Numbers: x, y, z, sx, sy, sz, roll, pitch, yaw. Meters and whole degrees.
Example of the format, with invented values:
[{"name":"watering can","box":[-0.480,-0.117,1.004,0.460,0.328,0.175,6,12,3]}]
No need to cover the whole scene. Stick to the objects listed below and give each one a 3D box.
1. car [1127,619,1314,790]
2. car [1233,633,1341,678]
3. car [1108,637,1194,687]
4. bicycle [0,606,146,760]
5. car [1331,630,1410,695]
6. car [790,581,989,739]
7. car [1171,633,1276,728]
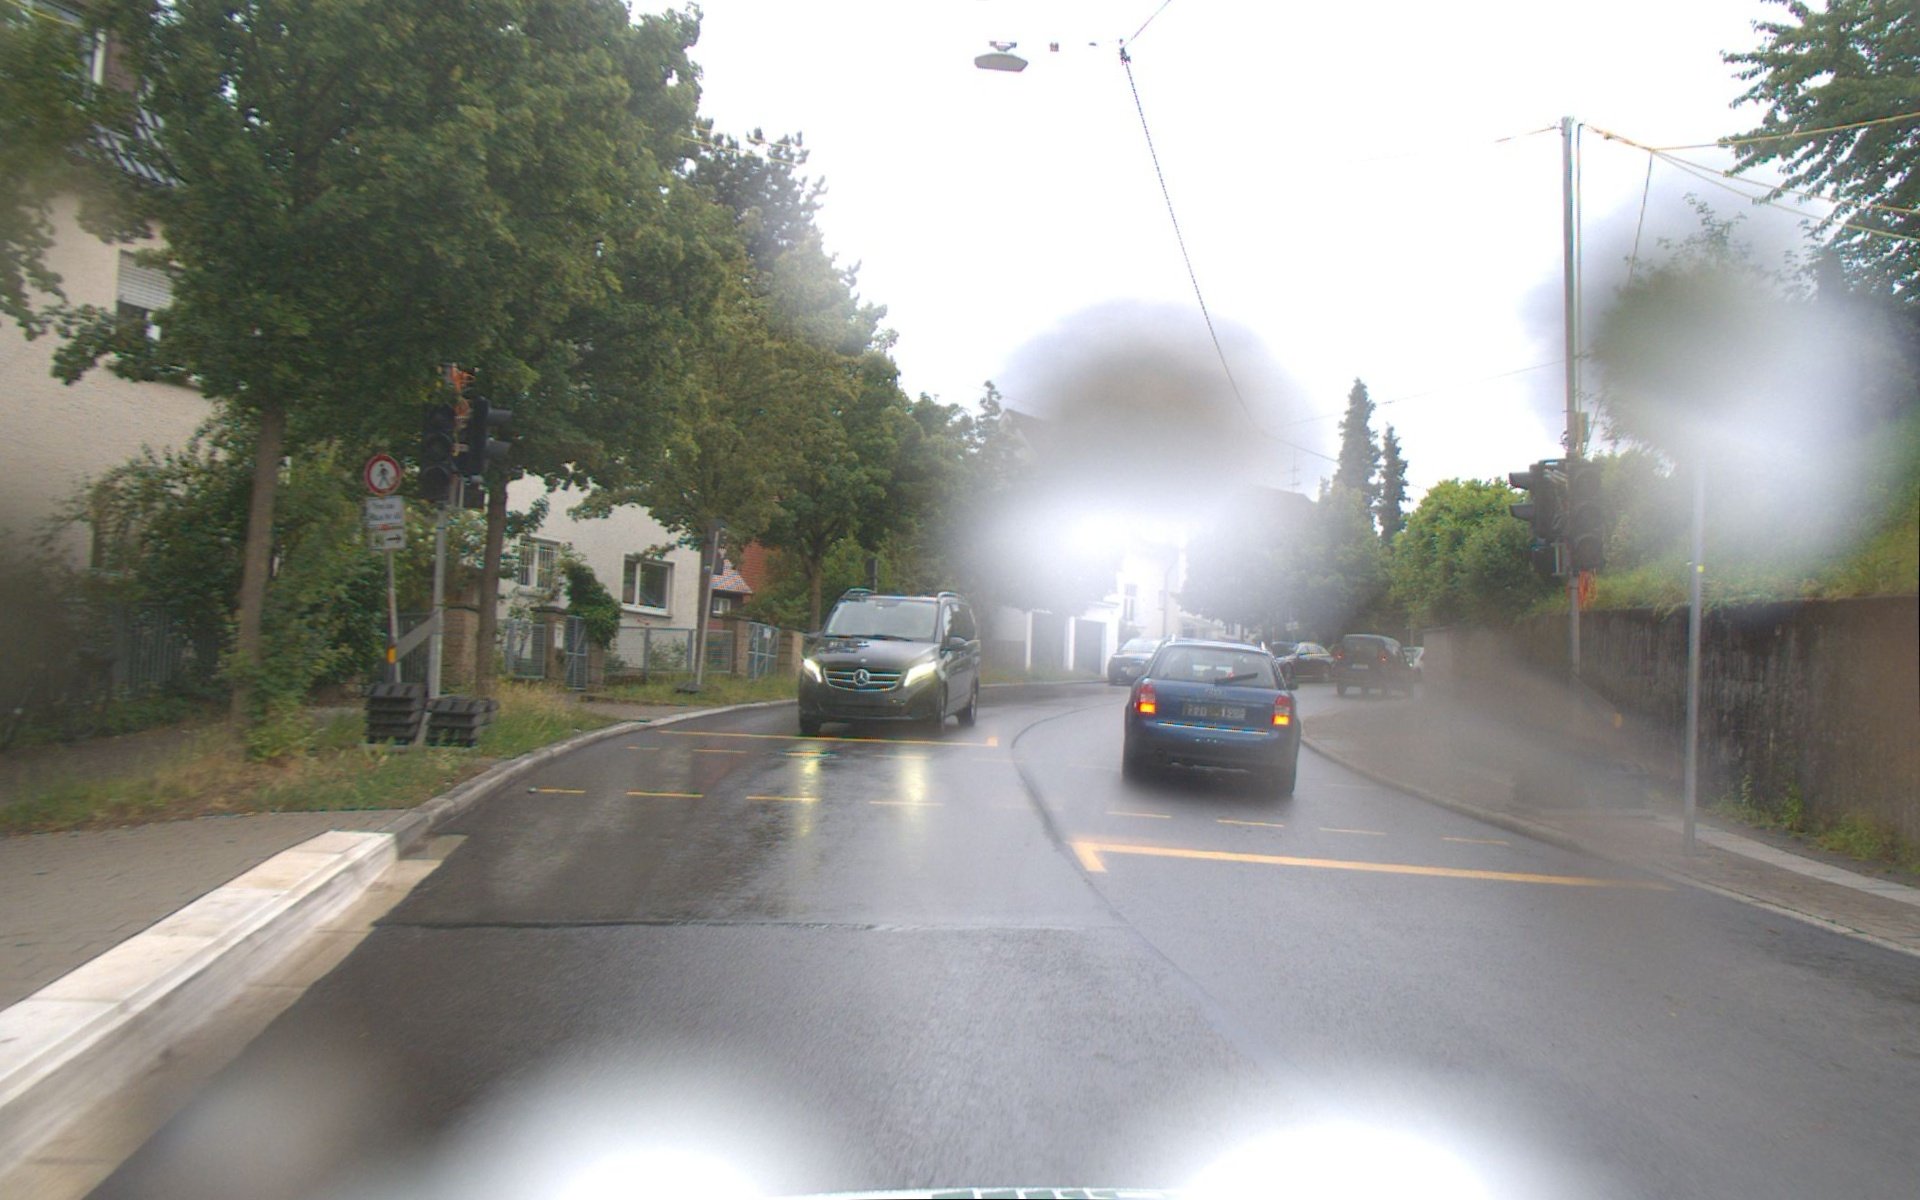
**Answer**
[{"name":"car","box":[2.611,0.987,17.311,1.697,1.492,4.003,0,0,6]},{"name":"car","box":[12.222,2.091,61.567,1.838,1.572,4.878,0,-2,40]},{"name":"car","box":[6.006,1.935,51.644,1.636,1.492,3.893,0,-2,23]},{"name":"bicycle","box":[-8.365,0.725,15.488,0.481,1.294,2.270,4,0,-5]},{"name":"car","box":[12.753,1.895,51.229,1.698,1.799,4.234,0,0,23]},{"name":"car","box":[-0.832,0.800,22.900,1.856,1.923,5.156,0,-2,8]},{"name":"car","box":[5.397,1.559,33.491,1.933,1.663,4.239,0,0,11]}]
